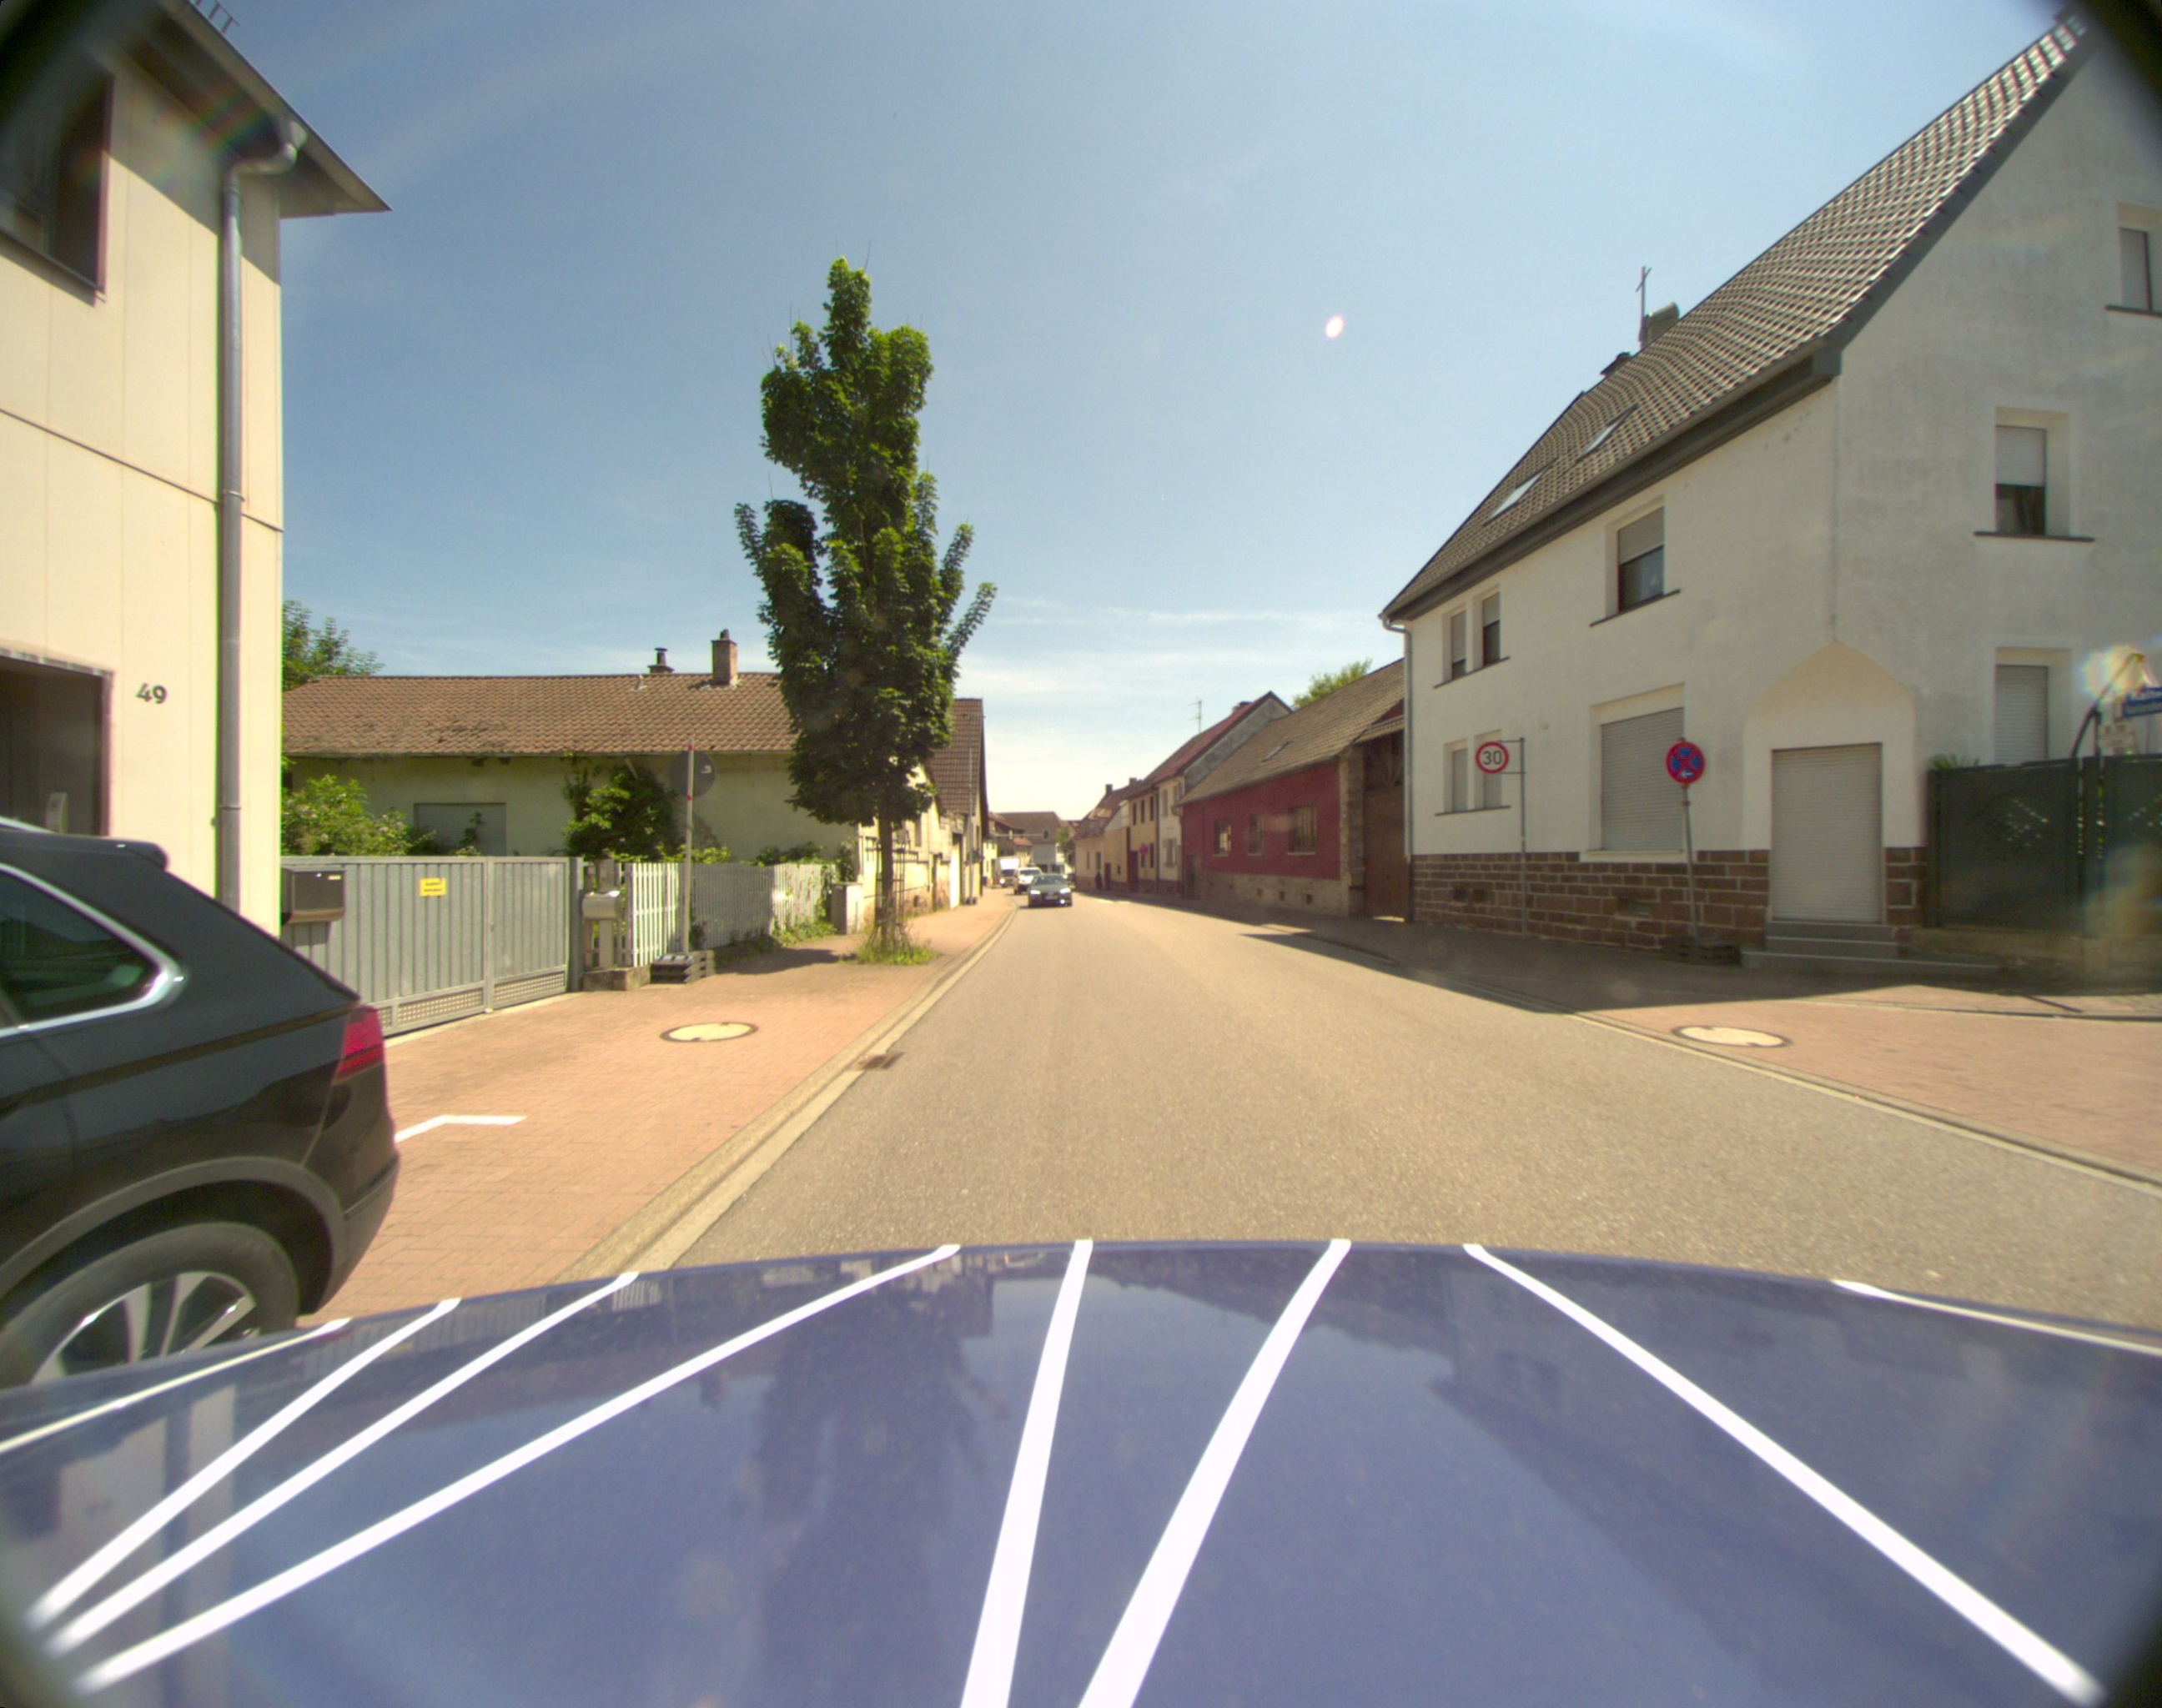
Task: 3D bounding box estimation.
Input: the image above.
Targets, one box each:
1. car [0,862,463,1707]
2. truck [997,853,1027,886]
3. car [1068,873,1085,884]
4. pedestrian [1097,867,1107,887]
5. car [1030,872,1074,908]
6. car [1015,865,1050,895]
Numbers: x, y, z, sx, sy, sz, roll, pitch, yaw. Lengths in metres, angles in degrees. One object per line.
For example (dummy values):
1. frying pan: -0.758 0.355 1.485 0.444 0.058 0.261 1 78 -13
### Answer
1. car: -2.890 0.823 0.173 1.807 1.604 4.548 2 0 -1
2. truck: -7.735 1.686 86.180 2.867 3.491 8.318 1 0 -2
3. car: -0.672 3.671 115.214 1.832 1.611 4.265 0 -1 10
4. pedestrian: 1.624 1.798 59.076 0.664 1.555 0.754 -1 0 -7
5. car: -1.256 1.505 32.477 1.786 1.364 3.606 -1 0 -3
6. car: -3.570 1.835 55.318 2.080 1.949 5.514 -1 0 -8
